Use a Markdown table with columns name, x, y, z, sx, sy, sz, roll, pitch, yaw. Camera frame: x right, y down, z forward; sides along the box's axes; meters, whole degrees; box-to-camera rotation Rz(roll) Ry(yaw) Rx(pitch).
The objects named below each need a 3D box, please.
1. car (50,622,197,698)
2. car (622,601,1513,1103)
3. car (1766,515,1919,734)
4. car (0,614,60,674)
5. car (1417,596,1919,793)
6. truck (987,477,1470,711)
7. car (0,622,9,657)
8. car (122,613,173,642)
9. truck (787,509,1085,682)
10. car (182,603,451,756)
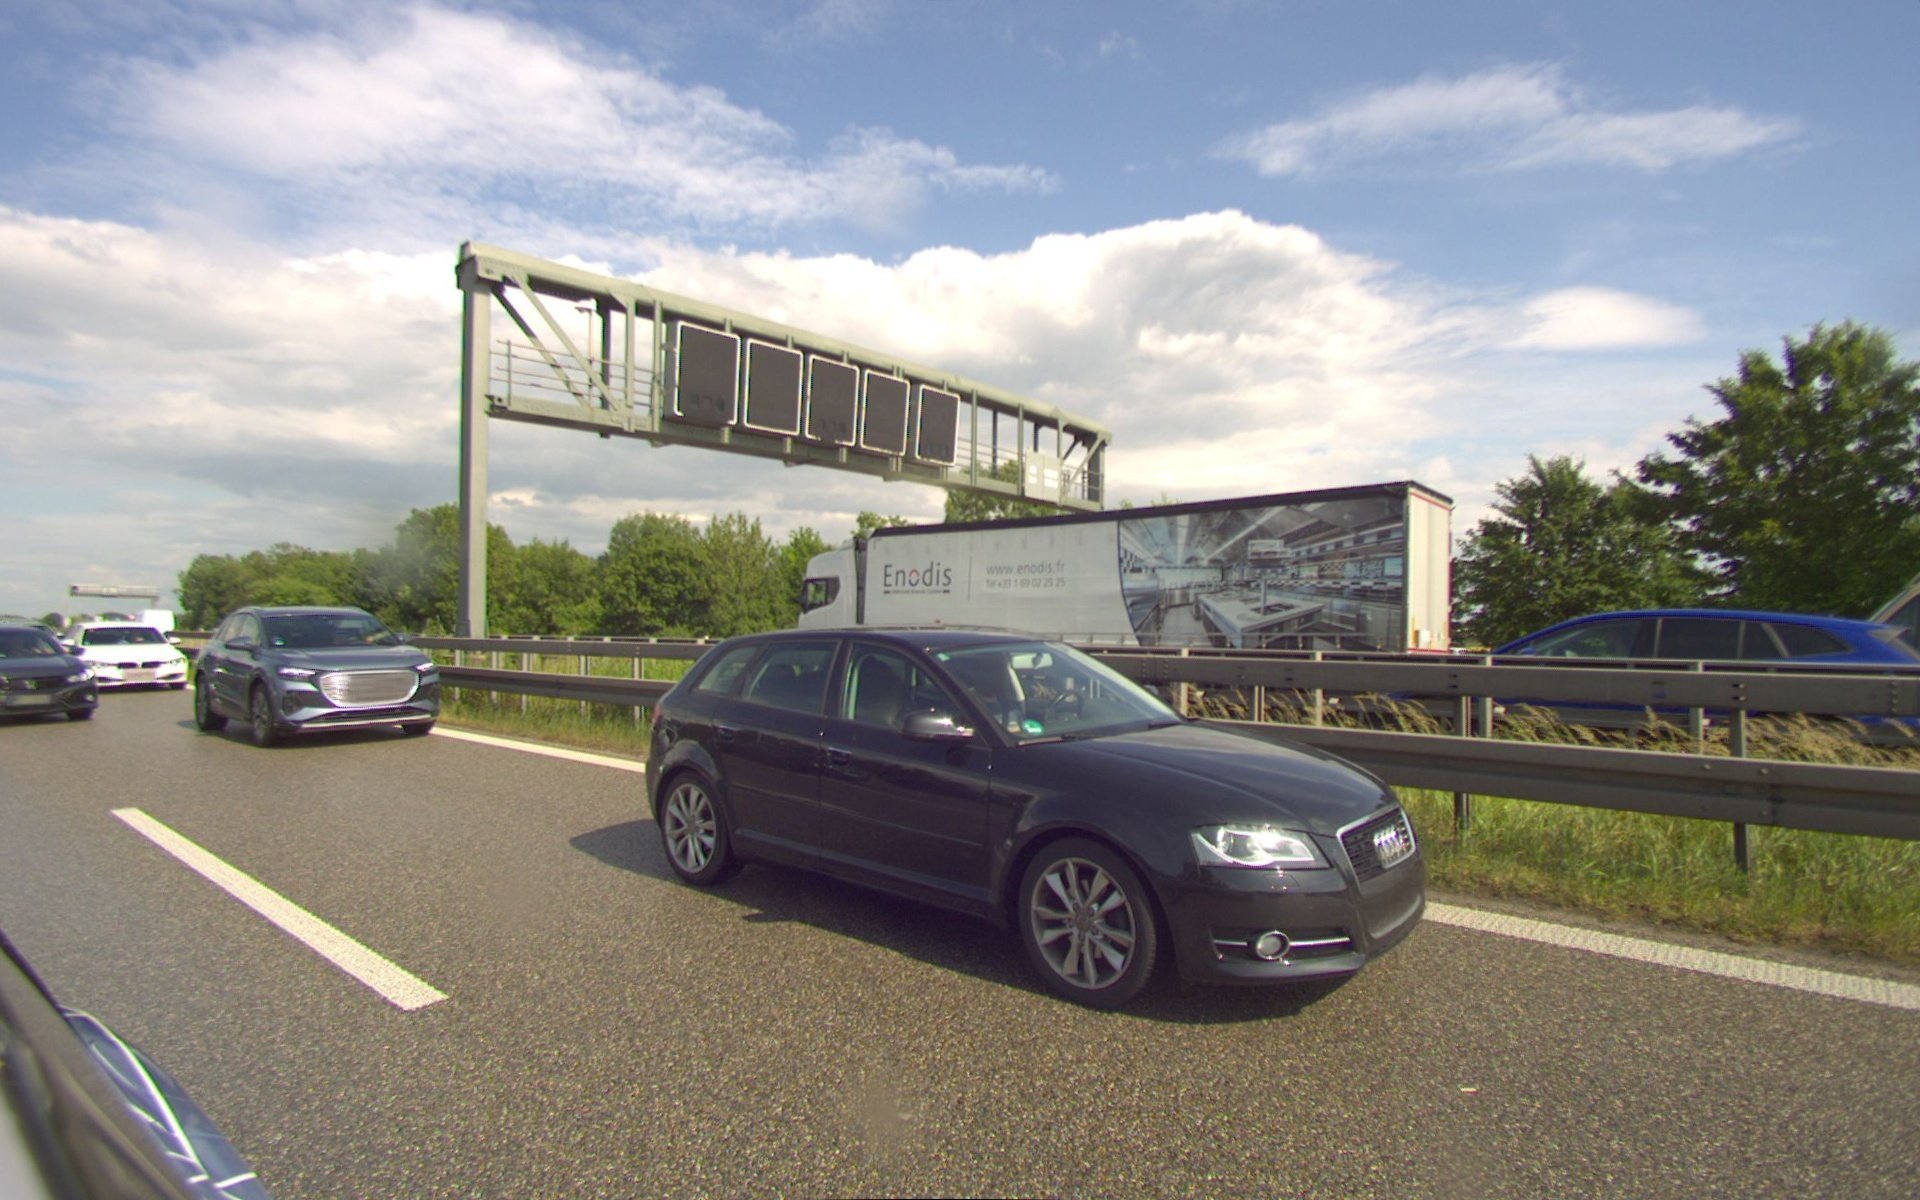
| name | x | y | z | sx | sy | sz | roll | pitch | yaw |
| --- | --- | --- | --- | --- | --- | --- | --- | --- | --- |
| car | -17.583 | 1.177 | 21.223 | 3.998 | 1.389 | 1.748 | 0 | -1 | 41 |
| car | 0.197 | 0.756 | 4.982 | 4.138 | 1.436 | 1.747 | -1 | 0 | 42 |
| car | 12.091 | 0.186 | 9.489 | 6.976 | 2.225 | 1.973 | -2 | -1 | 41 |
| car | -31.002 | 1.395 | 33.014 | 3.998 | 1.762 | 1.973 | 0 | 1 | 41 |
| car | 6.755 | 0.739 | 9.513 | 4.096 | 1.471 | 1.973 | -1 | 0 | 41 |
| truck | 5.084 | -0.085 | 20.958 | 9.418 | 3.882 | 2.819 | 0 | -1 | 41 |
| car | -43.948 | 1.754 | 45.053 | 3.998 | 1.490 | 1.973 | 0 | 1 | 41 |
| car | -60.794 | 2.051 | 75.672 | 5.555 | 2.029 | 1.973 | -1 | -2 | 41 |
| truck | -0.839 | -0.082 | 26.152 | 7.874 | 3.850 | 2.832 | 0 | -1 | 41 |
| car | -8.252 | 0.878 | 12.828 | 4.228 | 1.618 | 1.850 | -1 | -1 | 42 |
